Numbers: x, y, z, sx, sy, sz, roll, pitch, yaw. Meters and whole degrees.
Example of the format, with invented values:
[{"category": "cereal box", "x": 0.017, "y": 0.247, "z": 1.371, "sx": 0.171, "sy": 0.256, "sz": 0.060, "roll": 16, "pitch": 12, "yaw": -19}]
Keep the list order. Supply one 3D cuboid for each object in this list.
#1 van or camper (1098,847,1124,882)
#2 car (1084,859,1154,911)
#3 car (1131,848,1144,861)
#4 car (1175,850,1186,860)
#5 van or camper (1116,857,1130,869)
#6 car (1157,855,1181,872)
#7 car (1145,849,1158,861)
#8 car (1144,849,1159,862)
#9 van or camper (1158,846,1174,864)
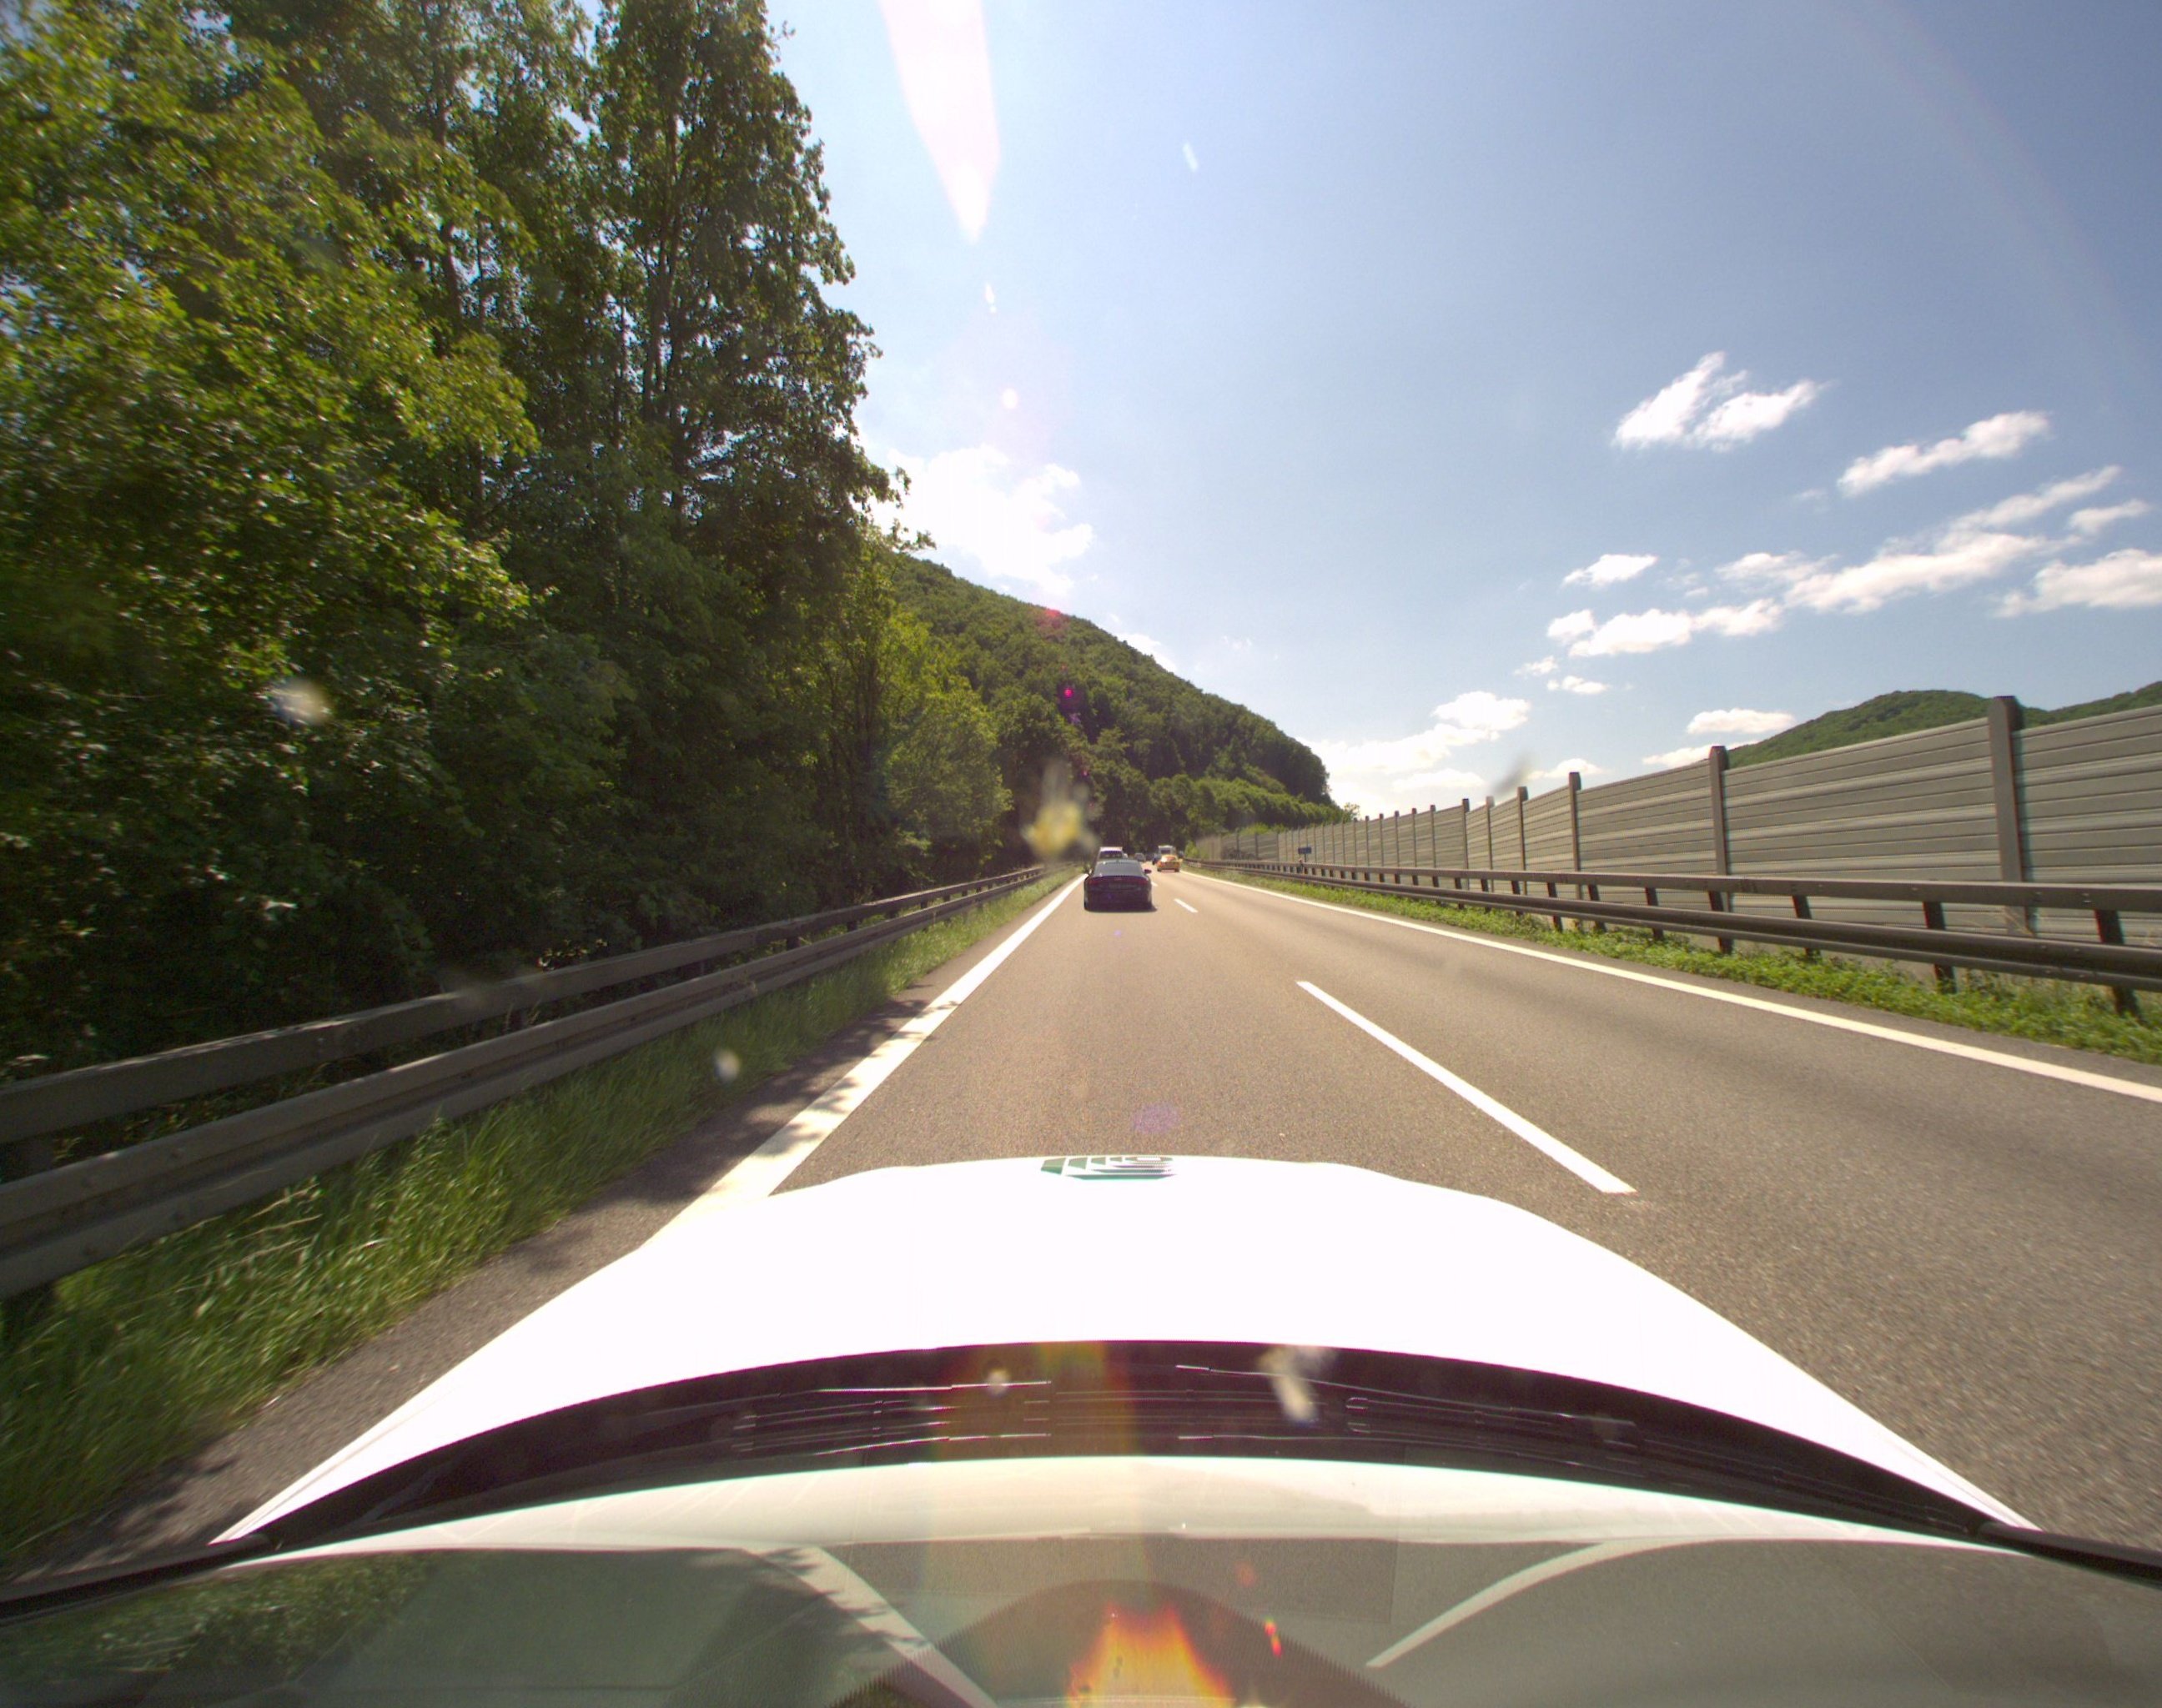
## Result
[{"category": "van or camper", "x": 1.665, "y": 0.571, "z": 45.366, "sx": 1.386, "sy": 1.816, "sz": 4.002, "roll": -1, "pitch": -1, "yaw": 2}, {"category": "car", "x": 1.084, "y": 0.851, "z": 23.675, "sx": 1.830, "sy": 1.349, "sz": 4.002, "roll": -1, "pitch": -1, "yaw": 2}, {"category": "car", "x": 9.033, "y": 0.076, "z": 130.123, "sx": 1.983, "sy": 2.014, "sz": 4.006, "roll": -1, "pitch": -1, "yaw": 6}, {"category": "car", "x": 20.953, "y": 0.202, "z": 170.903, "sx": 1.980, "sy": 2.014, "sz": 4.013, "roll": -1, "pitch": -1, "yaw": 12}, {"category": "van or camper", "x": 5.433, "y": 1.208, "z": 106.245, "sx": 1.549, "sy": 1.534, "sz": 3.512, "roll": -1, "pitch": -1, "yaw": 7}, {"category": "car", "x": 7.679, "y": 0.819, "z": 71.582, "sx": 1.855, "sy": 1.488, "sz": 4.003, "roll": -1, "pitch": -1, "yaw": 3}, {"category": "car", "x": 12.782, "y": 0.182, "z": 146.875, "sx": 1.981, "sy": 2.014, "sz": 4.012, "roll": -1, "pitch": -1, "yaw": 11}, {"category": "car", "x": 9.638, "y": 0.204, "z": 111.284, "sx": 1.766, "sy": 1.637, "sz": 4.001, "roll": 0, "pitch": -1, "yaw": 2}, {"category": "van or camper", "x": 13.981, "y": 0.181, "z": 134.144, "sx": 2.443, "sy": 2.918, "sz": 6.136, "roll": -1, "pitch": -1, "yaw": 6}]
